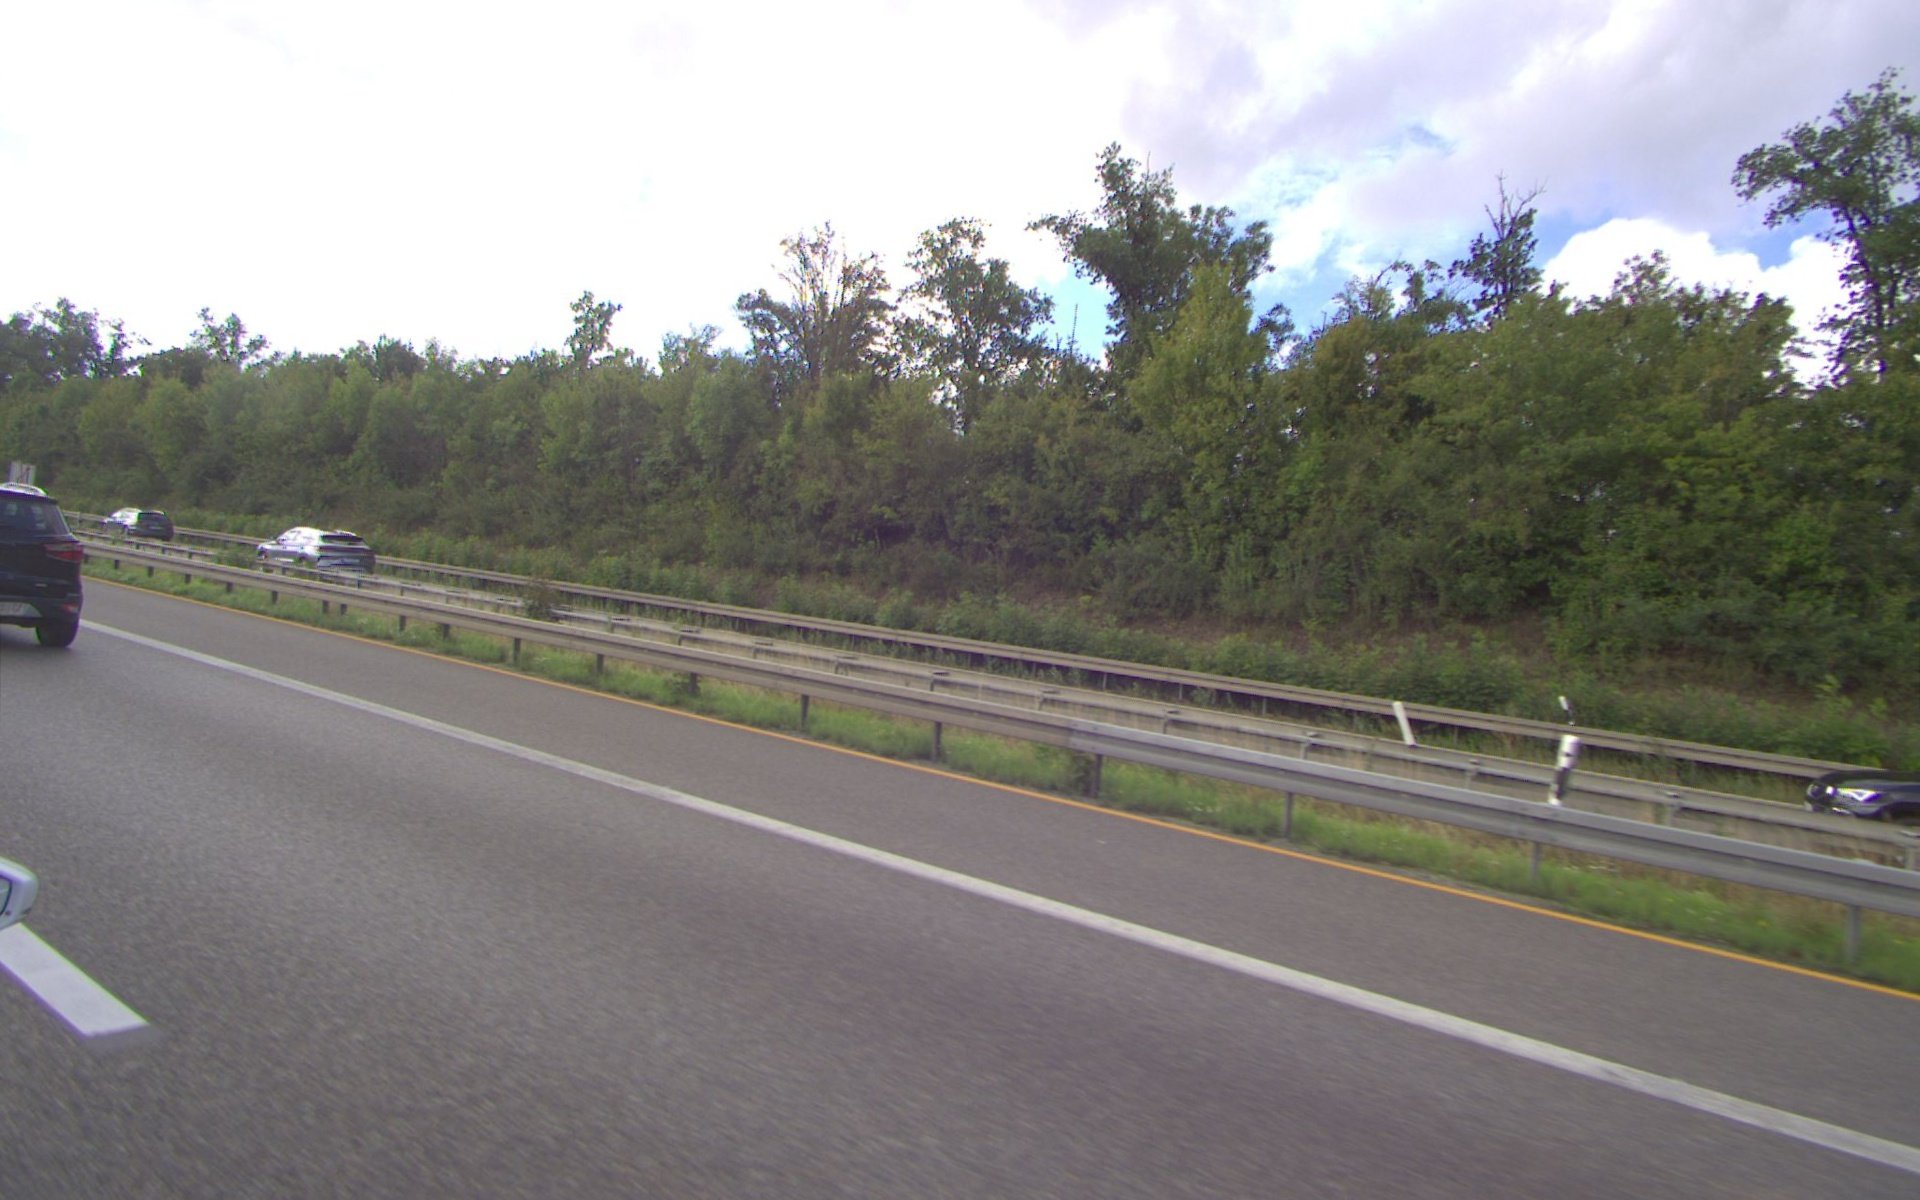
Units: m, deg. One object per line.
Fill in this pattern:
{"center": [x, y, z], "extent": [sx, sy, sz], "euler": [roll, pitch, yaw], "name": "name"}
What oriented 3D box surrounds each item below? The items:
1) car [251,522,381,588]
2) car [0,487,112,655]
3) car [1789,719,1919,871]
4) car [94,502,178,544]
{"center": [-20.870, -1.465, 32.578], "extent": [4.234, 1.671, 1.847], "euler": [7, 1, 32], "name": "car"}
{"center": [-10.945, -0.494, 10.656], "extent": [4.045, 1.583, 1.700], "euler": [7, -1, 31], "name": "car"}
{"center": [12.586, 2.518, 11.489], "extent": [4.451, 1.503, 1.844], "euler": [7, 1, 32], "name": "car"}
{"center": [-39.599, -3.708, 48.324], "extent": [4.233, 1.566, 1.730], "euler": [7, 1, 30], "name": "car"}
